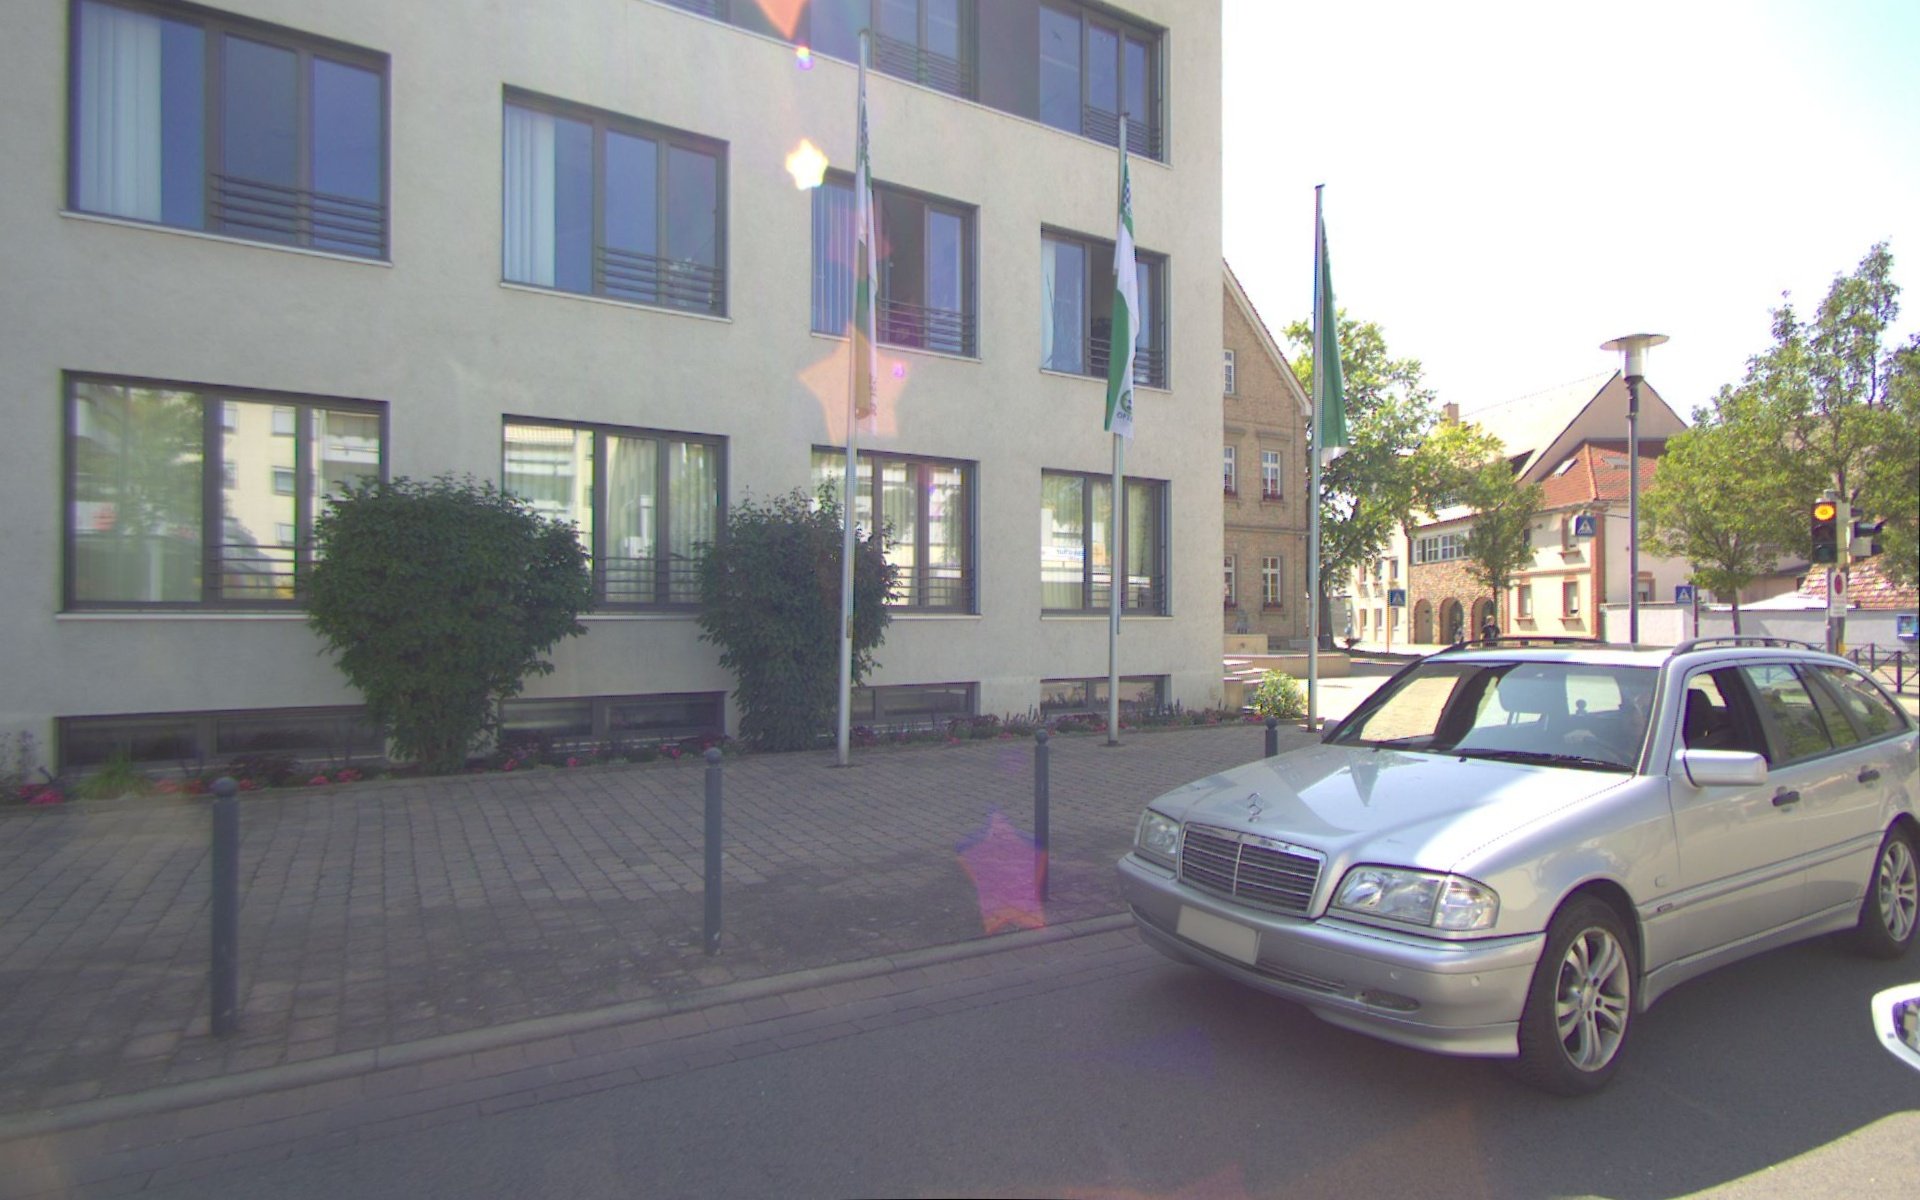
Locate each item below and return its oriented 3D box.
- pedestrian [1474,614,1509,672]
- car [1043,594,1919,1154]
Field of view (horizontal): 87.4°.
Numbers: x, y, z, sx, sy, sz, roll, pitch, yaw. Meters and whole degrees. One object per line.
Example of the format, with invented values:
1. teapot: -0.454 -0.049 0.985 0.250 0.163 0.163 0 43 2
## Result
1. pedestrian: 15.619 1.249 29.532 0.798 1.676 0.851 0 -1 20
2. car: 2.695 0.842 4.662 4.387 1.483 1.871 2 -4 -32
